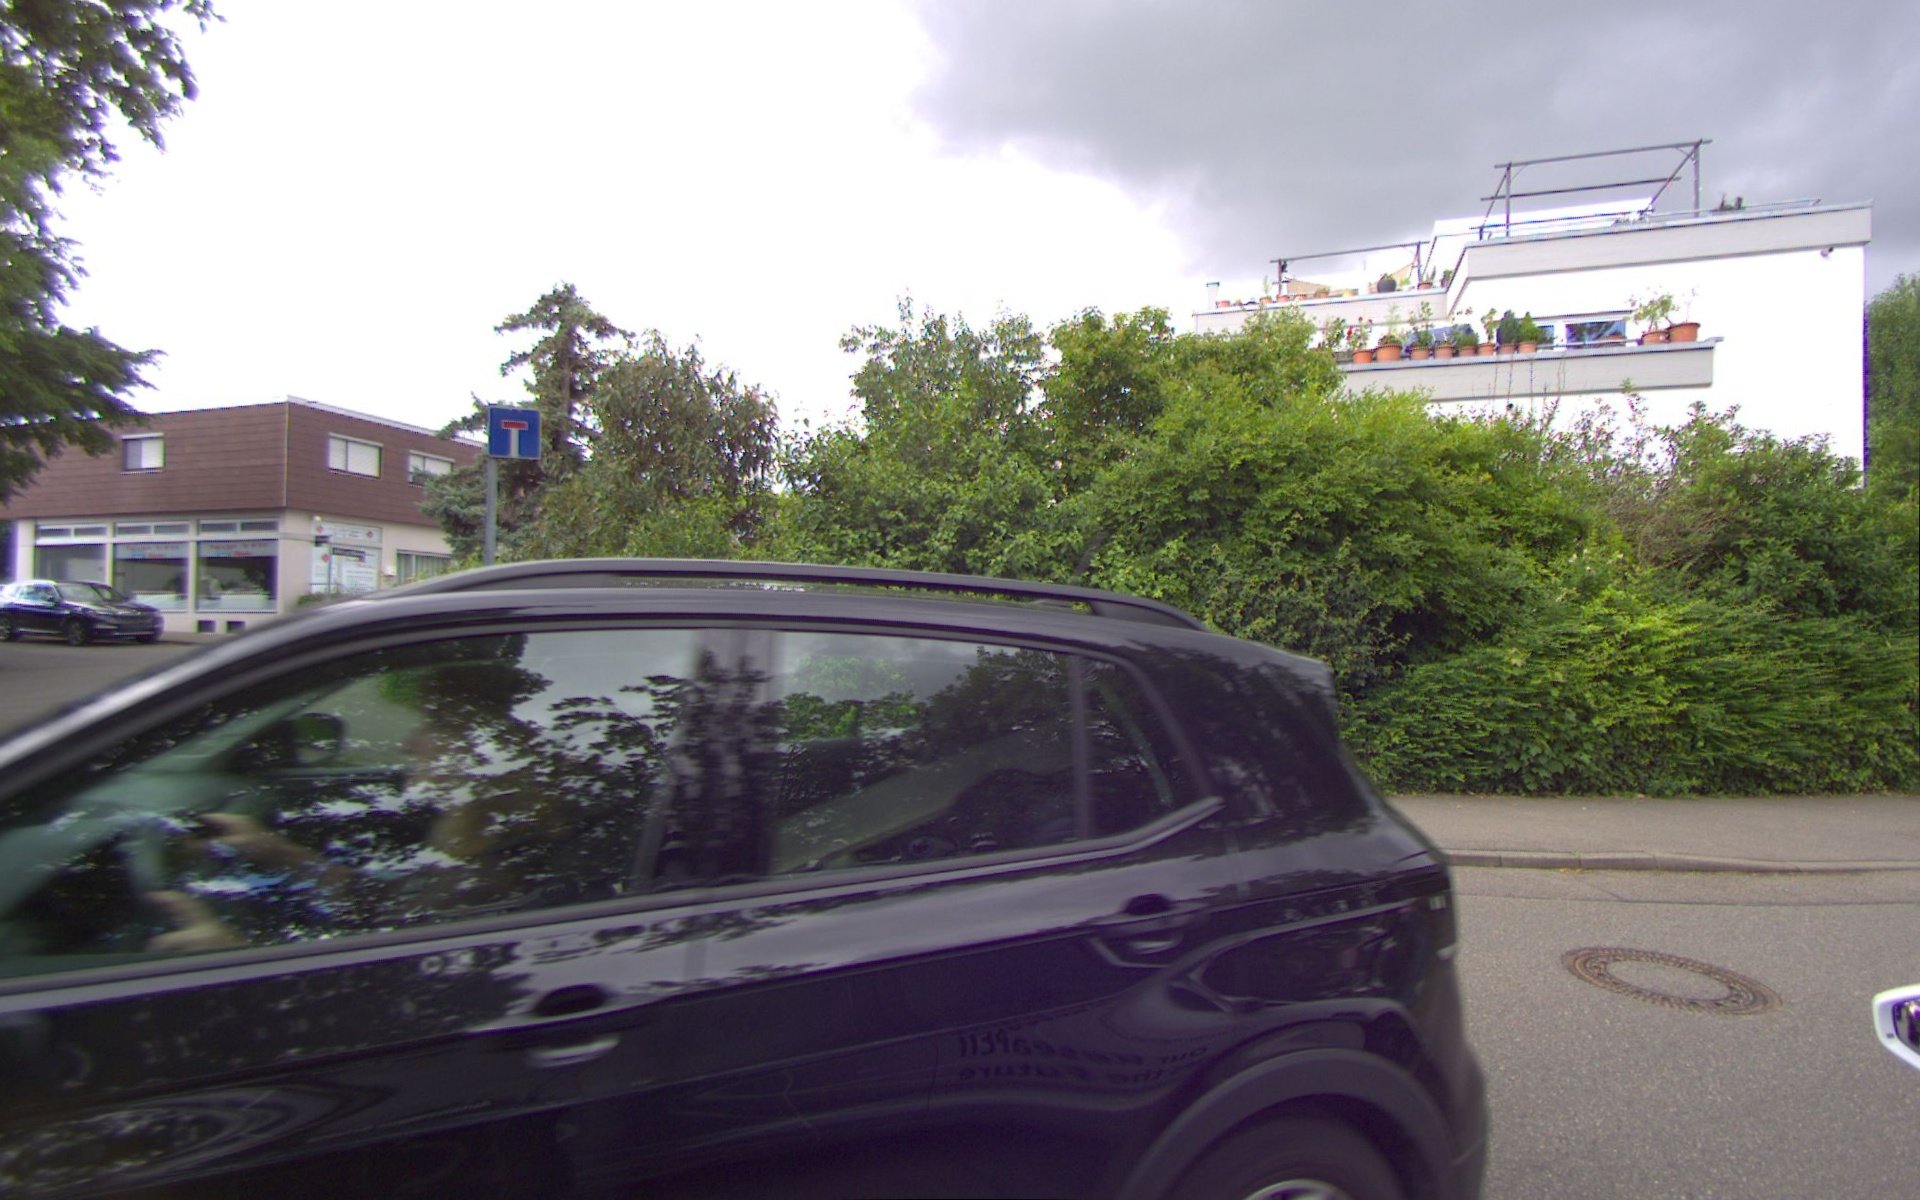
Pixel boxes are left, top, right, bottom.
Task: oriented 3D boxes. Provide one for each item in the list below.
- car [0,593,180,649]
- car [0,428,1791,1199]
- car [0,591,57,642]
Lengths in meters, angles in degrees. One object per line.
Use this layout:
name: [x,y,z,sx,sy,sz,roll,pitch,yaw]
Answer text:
car: [-23.527,0.533,27.042,4.194,1.394,2.000,0,1,19]
car: [-0.400,0.668,2.240,4.236,1.612,1.798,1,-1,-24]
car: [-28.355,0.444,28.768,3.920,1.394,1.975,1,0,17]
